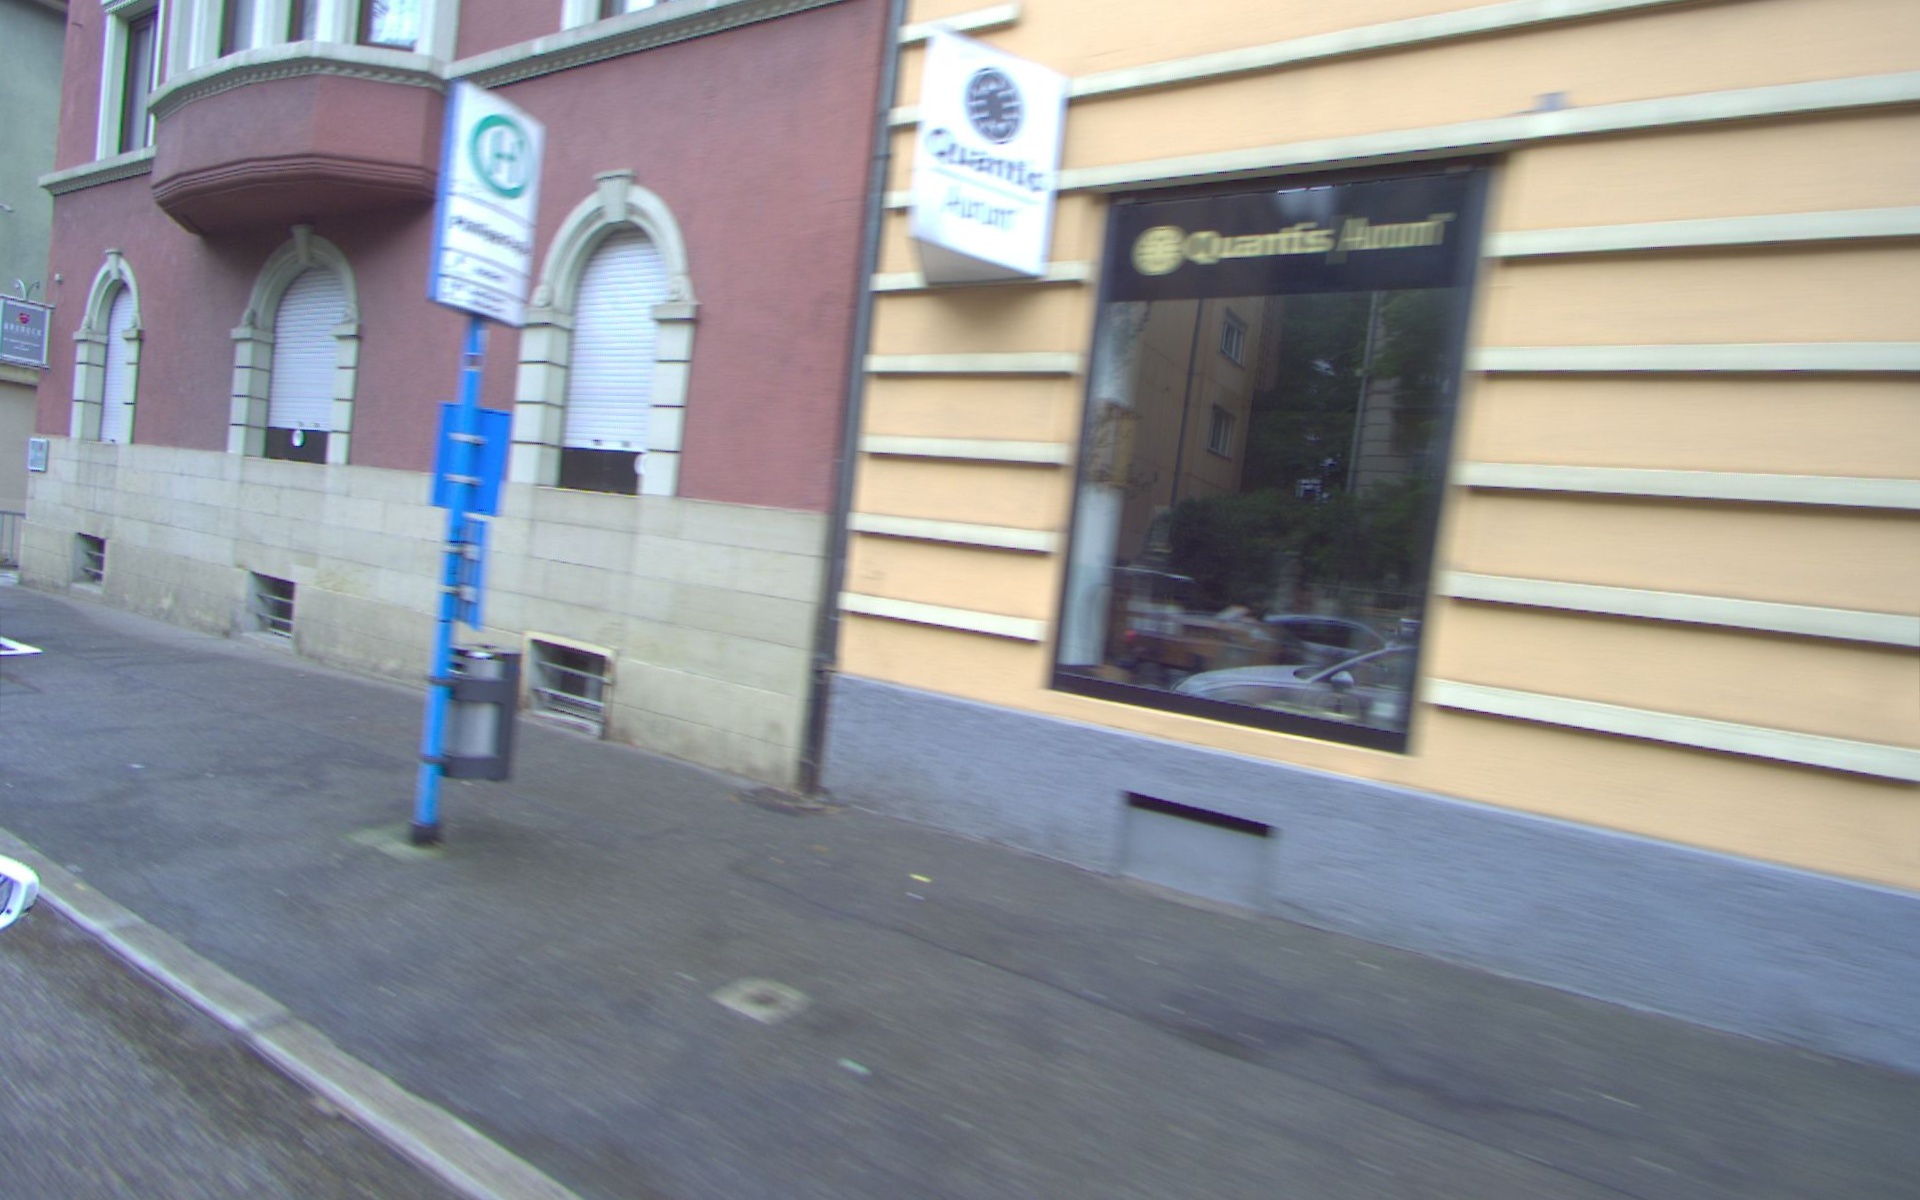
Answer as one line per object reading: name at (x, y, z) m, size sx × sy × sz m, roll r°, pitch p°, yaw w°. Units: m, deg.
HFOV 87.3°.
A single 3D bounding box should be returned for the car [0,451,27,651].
car at (-10.303, -0.572, 8.910) m, size 4.621 × 1.652 × 1.875 m, roll 5°, pitch 3°, yaw 32°
